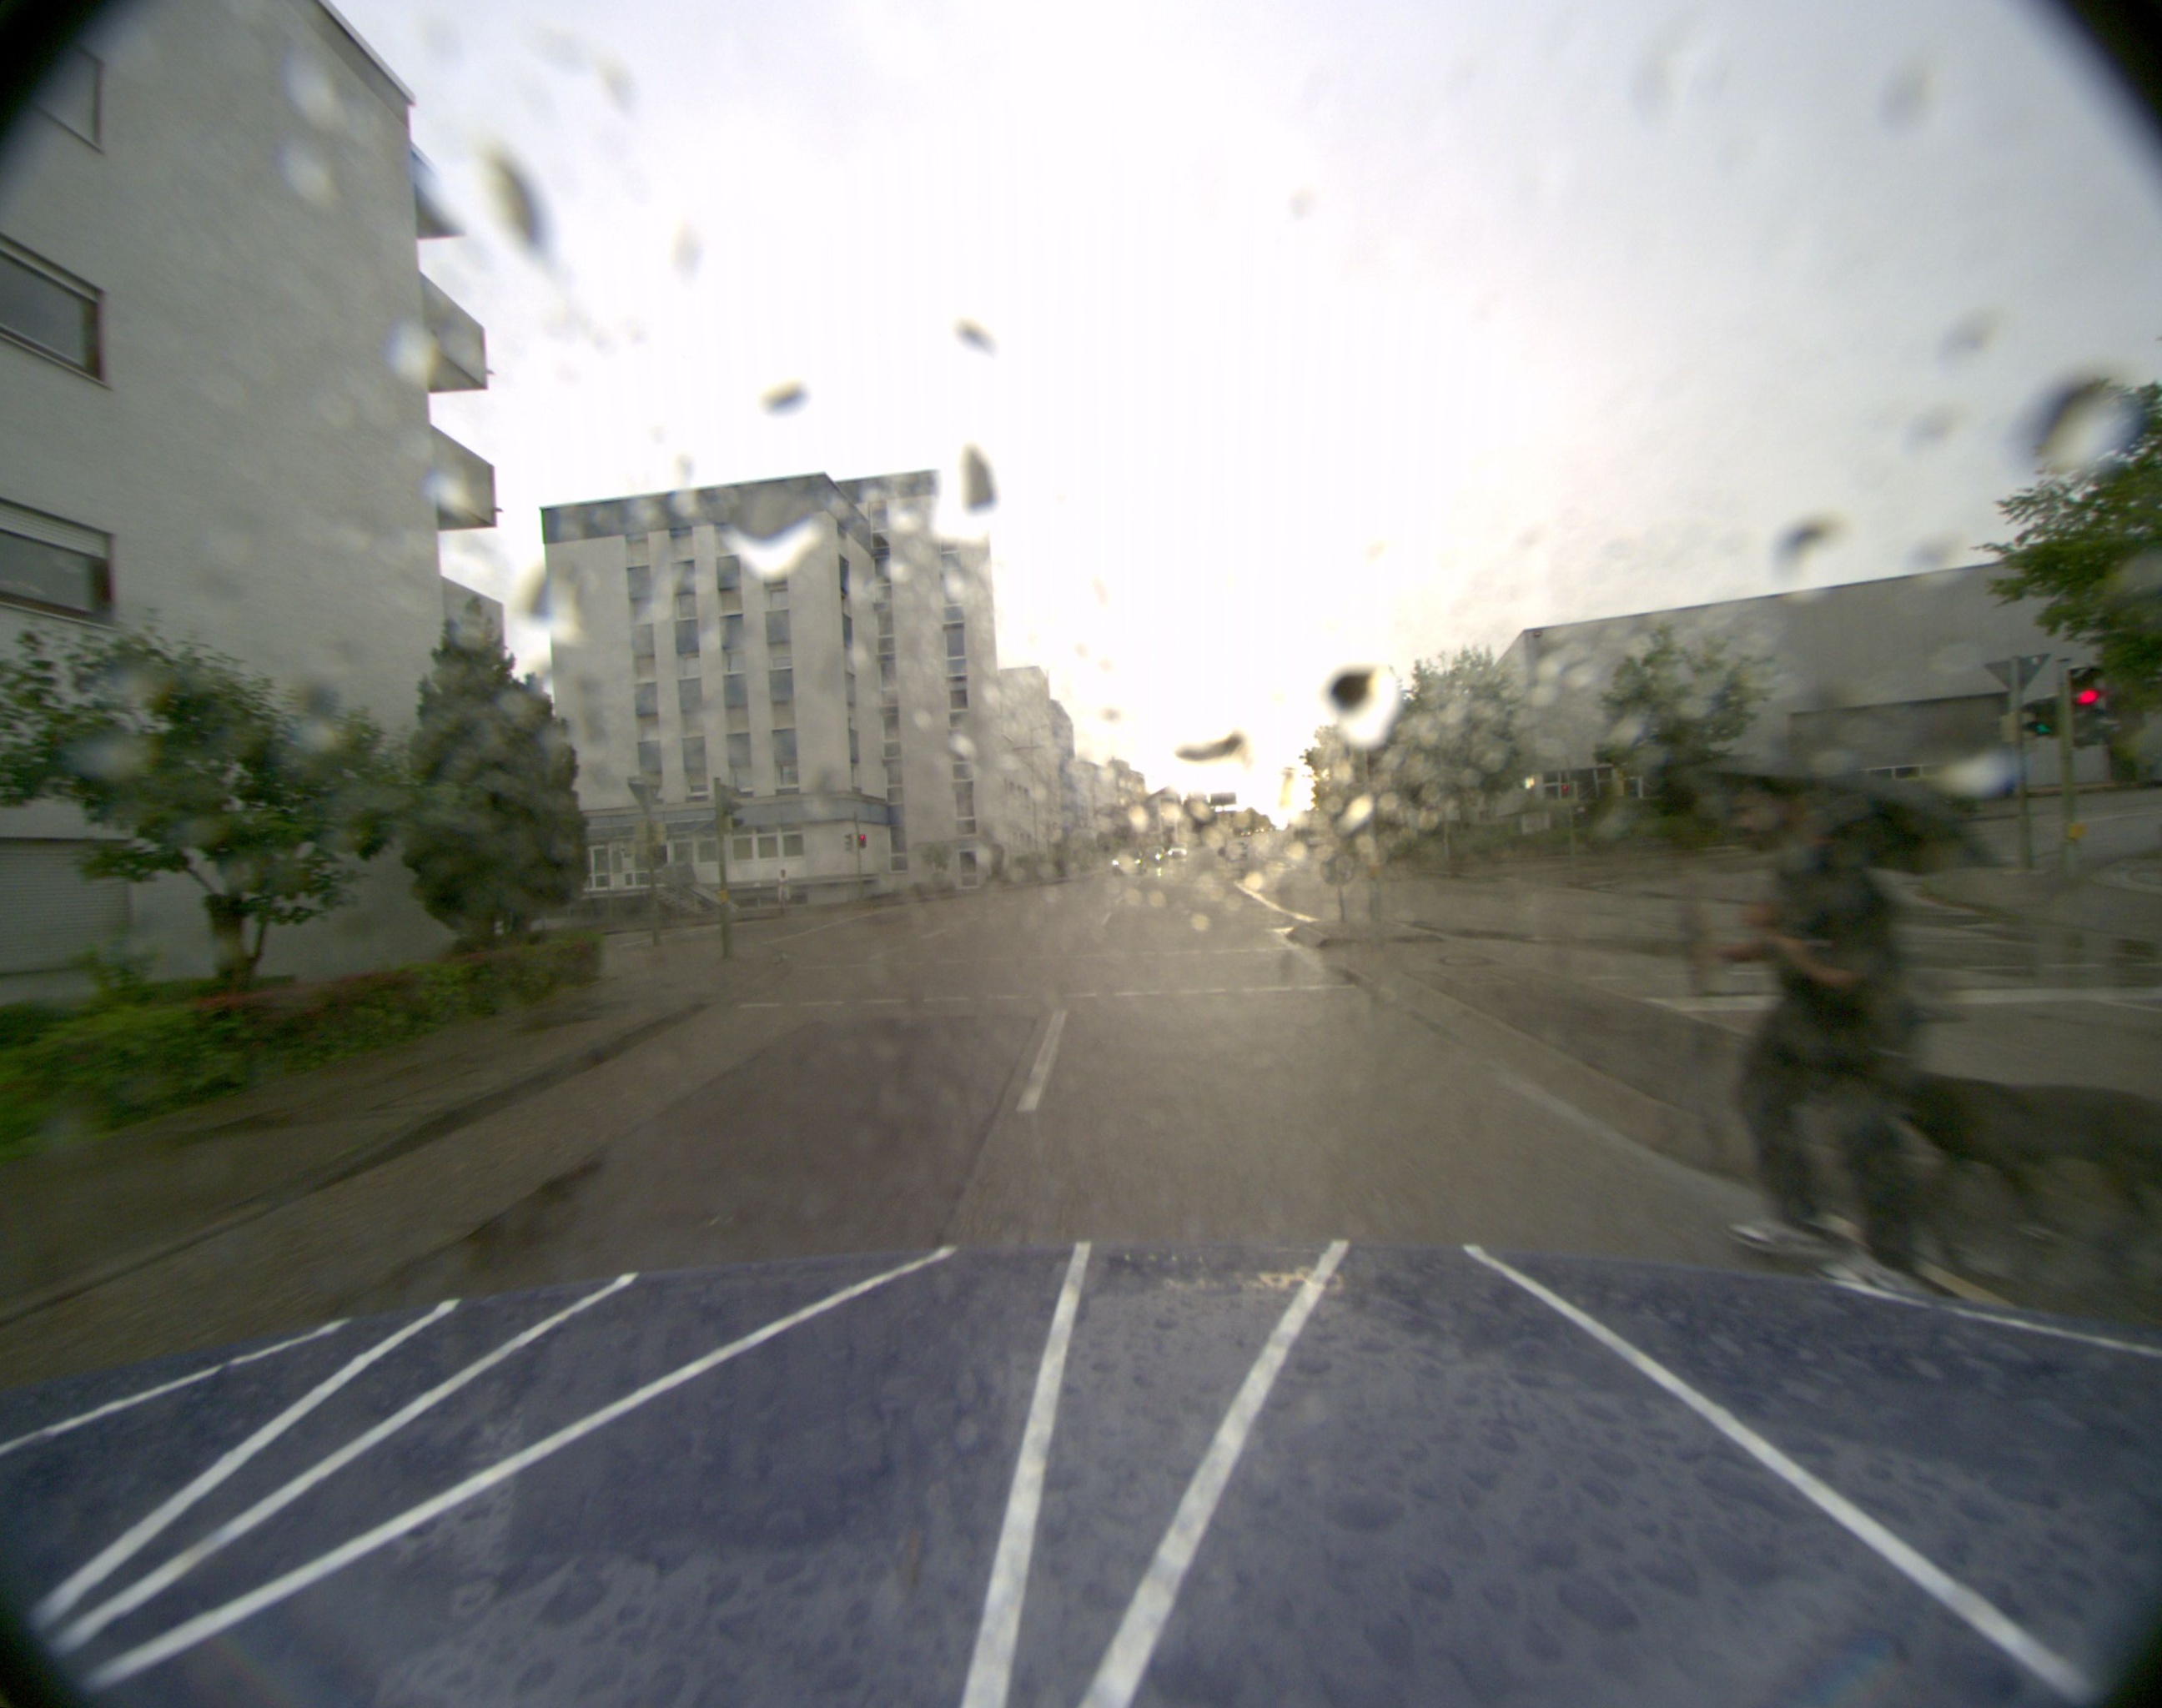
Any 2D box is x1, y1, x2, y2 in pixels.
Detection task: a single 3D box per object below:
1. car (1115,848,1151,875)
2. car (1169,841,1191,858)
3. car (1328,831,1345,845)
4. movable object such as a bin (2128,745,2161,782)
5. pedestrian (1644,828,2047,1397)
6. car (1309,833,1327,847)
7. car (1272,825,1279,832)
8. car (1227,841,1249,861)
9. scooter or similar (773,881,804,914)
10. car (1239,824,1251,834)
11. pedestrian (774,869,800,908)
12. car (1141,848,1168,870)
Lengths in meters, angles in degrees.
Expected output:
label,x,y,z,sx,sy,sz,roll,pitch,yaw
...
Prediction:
label,x,y,z,sx,sy,sz,roll,pitch,yaw
car,3.266,0.431,47.221,1.740,1.477,4.152,-3,0,10
car,10.414,-0.486,79.856,1.897,1.535,4.024,-4,0,11
car,29.121,-1.835,86.480,1.734,1.470,4.025,-4,0,19
movable object such as a bin,47.567,-4.046,33.183,1.586,1.526,1.450,-5,1,20
pedestrian,2.683,0.778,2.812,0.667,1.692,0.948,-4,1,23
car,27.046,-1.635,86.631,1.734,1.470,4.025,-4,0,19
car,52.116,-6.896,203.707,1.827,1.677,4.004,-3,0,15
car,14.082,-0.296,68.349,1.692,1.546,3.909,-5,1,10
scooter or similar,-12.017,1.774,31.245,0.801,1.220,1.061,-8,0,-5
car,35.698,-5.463,165.251,1.997,2.002,4.003,-7,0,14
pedestrian,-12.992,1.524,33.624,0.645,1.642,0.656,-7,1,5
car,5.785,0.349,59.649,1.752,1.470,4.002,-4,0,9
